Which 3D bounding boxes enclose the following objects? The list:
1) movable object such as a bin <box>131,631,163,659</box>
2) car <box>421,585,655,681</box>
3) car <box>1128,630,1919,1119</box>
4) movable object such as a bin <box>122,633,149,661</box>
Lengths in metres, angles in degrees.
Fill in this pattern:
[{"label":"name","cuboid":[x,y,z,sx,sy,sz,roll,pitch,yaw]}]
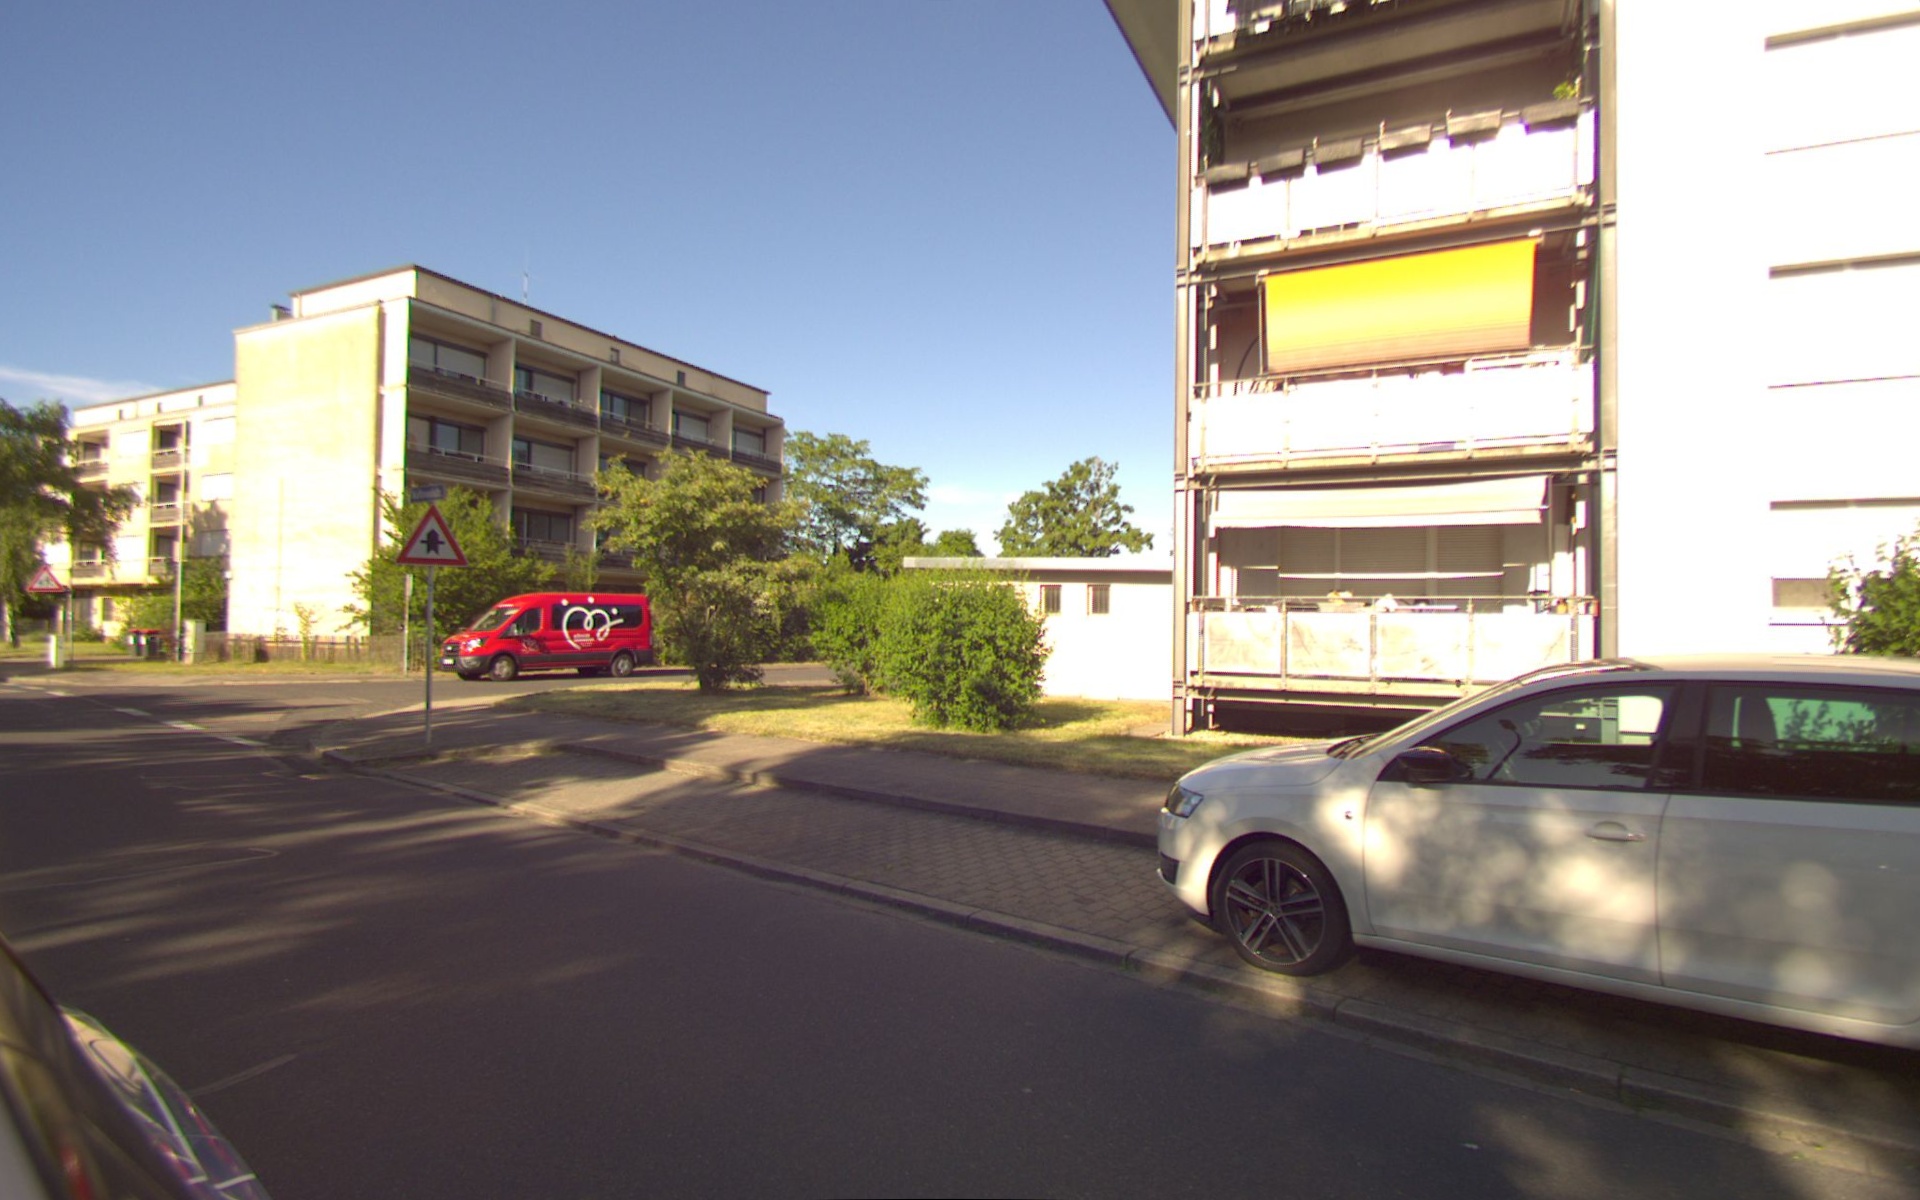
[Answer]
[{"label":"movable object such as a bin","cuboid":[-31.516,1.753,39.232,0.696,1.056,0.625,0,-2,15]},{"label":"car","cuboid":[-11.869,1.032,28.969,2.210,2.447,5.849,-3,-5,37]},{"label":"car","cuboid":[2.978,0.868,4.141,4.328,1.478,1.629,-1,-2,41]},{"label":"movable object such as a bin","cuboid":[-32.125,1.819,39.423,0.552,1.061,0.562,0,-2,16]}]
